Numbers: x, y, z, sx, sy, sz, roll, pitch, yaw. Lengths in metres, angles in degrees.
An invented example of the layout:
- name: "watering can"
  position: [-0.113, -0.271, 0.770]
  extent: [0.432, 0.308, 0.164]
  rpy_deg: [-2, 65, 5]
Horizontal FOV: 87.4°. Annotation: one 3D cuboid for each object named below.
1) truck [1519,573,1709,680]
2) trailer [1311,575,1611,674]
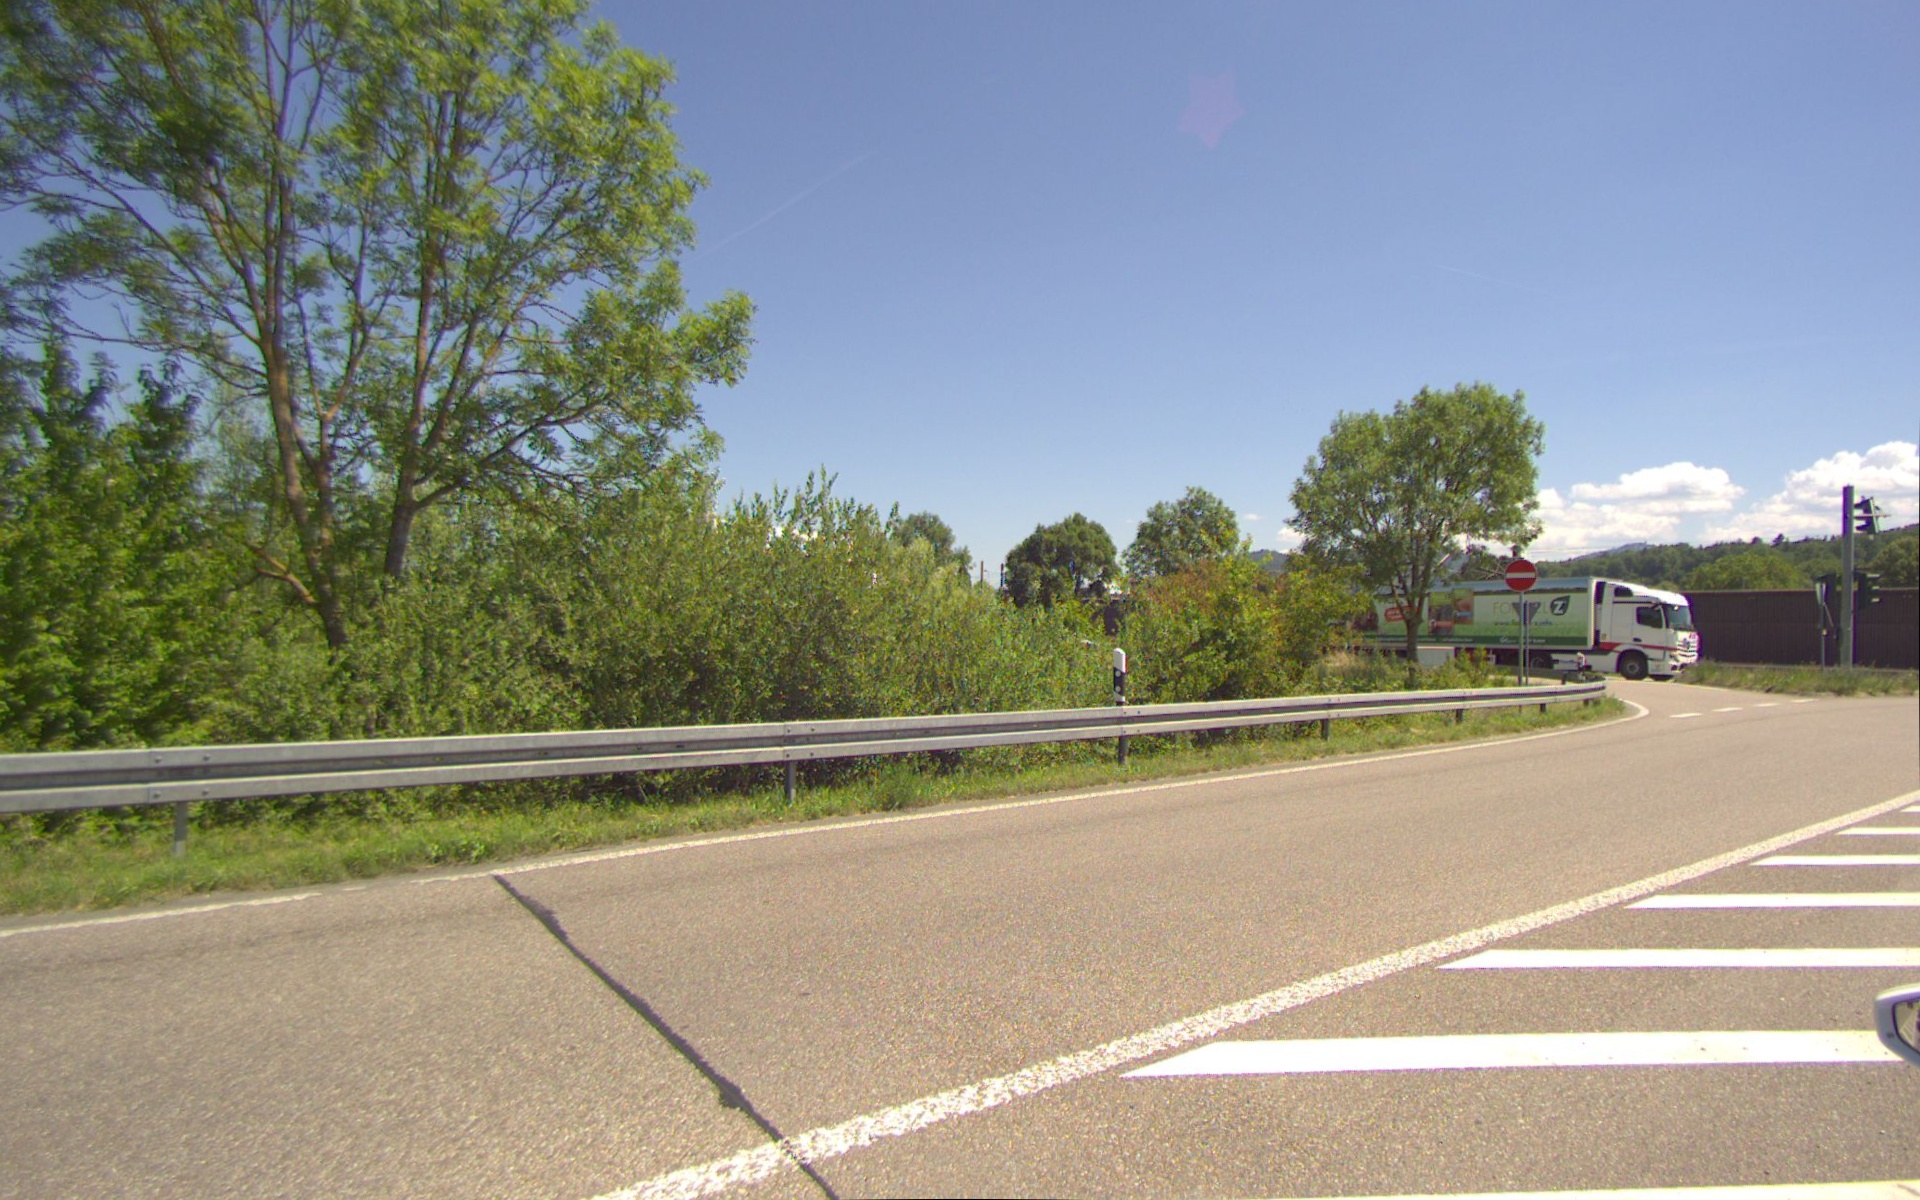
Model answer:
- name: "truck"
  position: [26.531, 1.048, 40.972]
  extent: [3.027, 4.007, 5.736]
  rpy_deg: [2, -1, -31]
- name: "trailer"
  position: [22.837, 1.053, 47.205]
  extent: [3.027, 4.007, 13.074]
  rpy_deg: [2, -1, -31]
